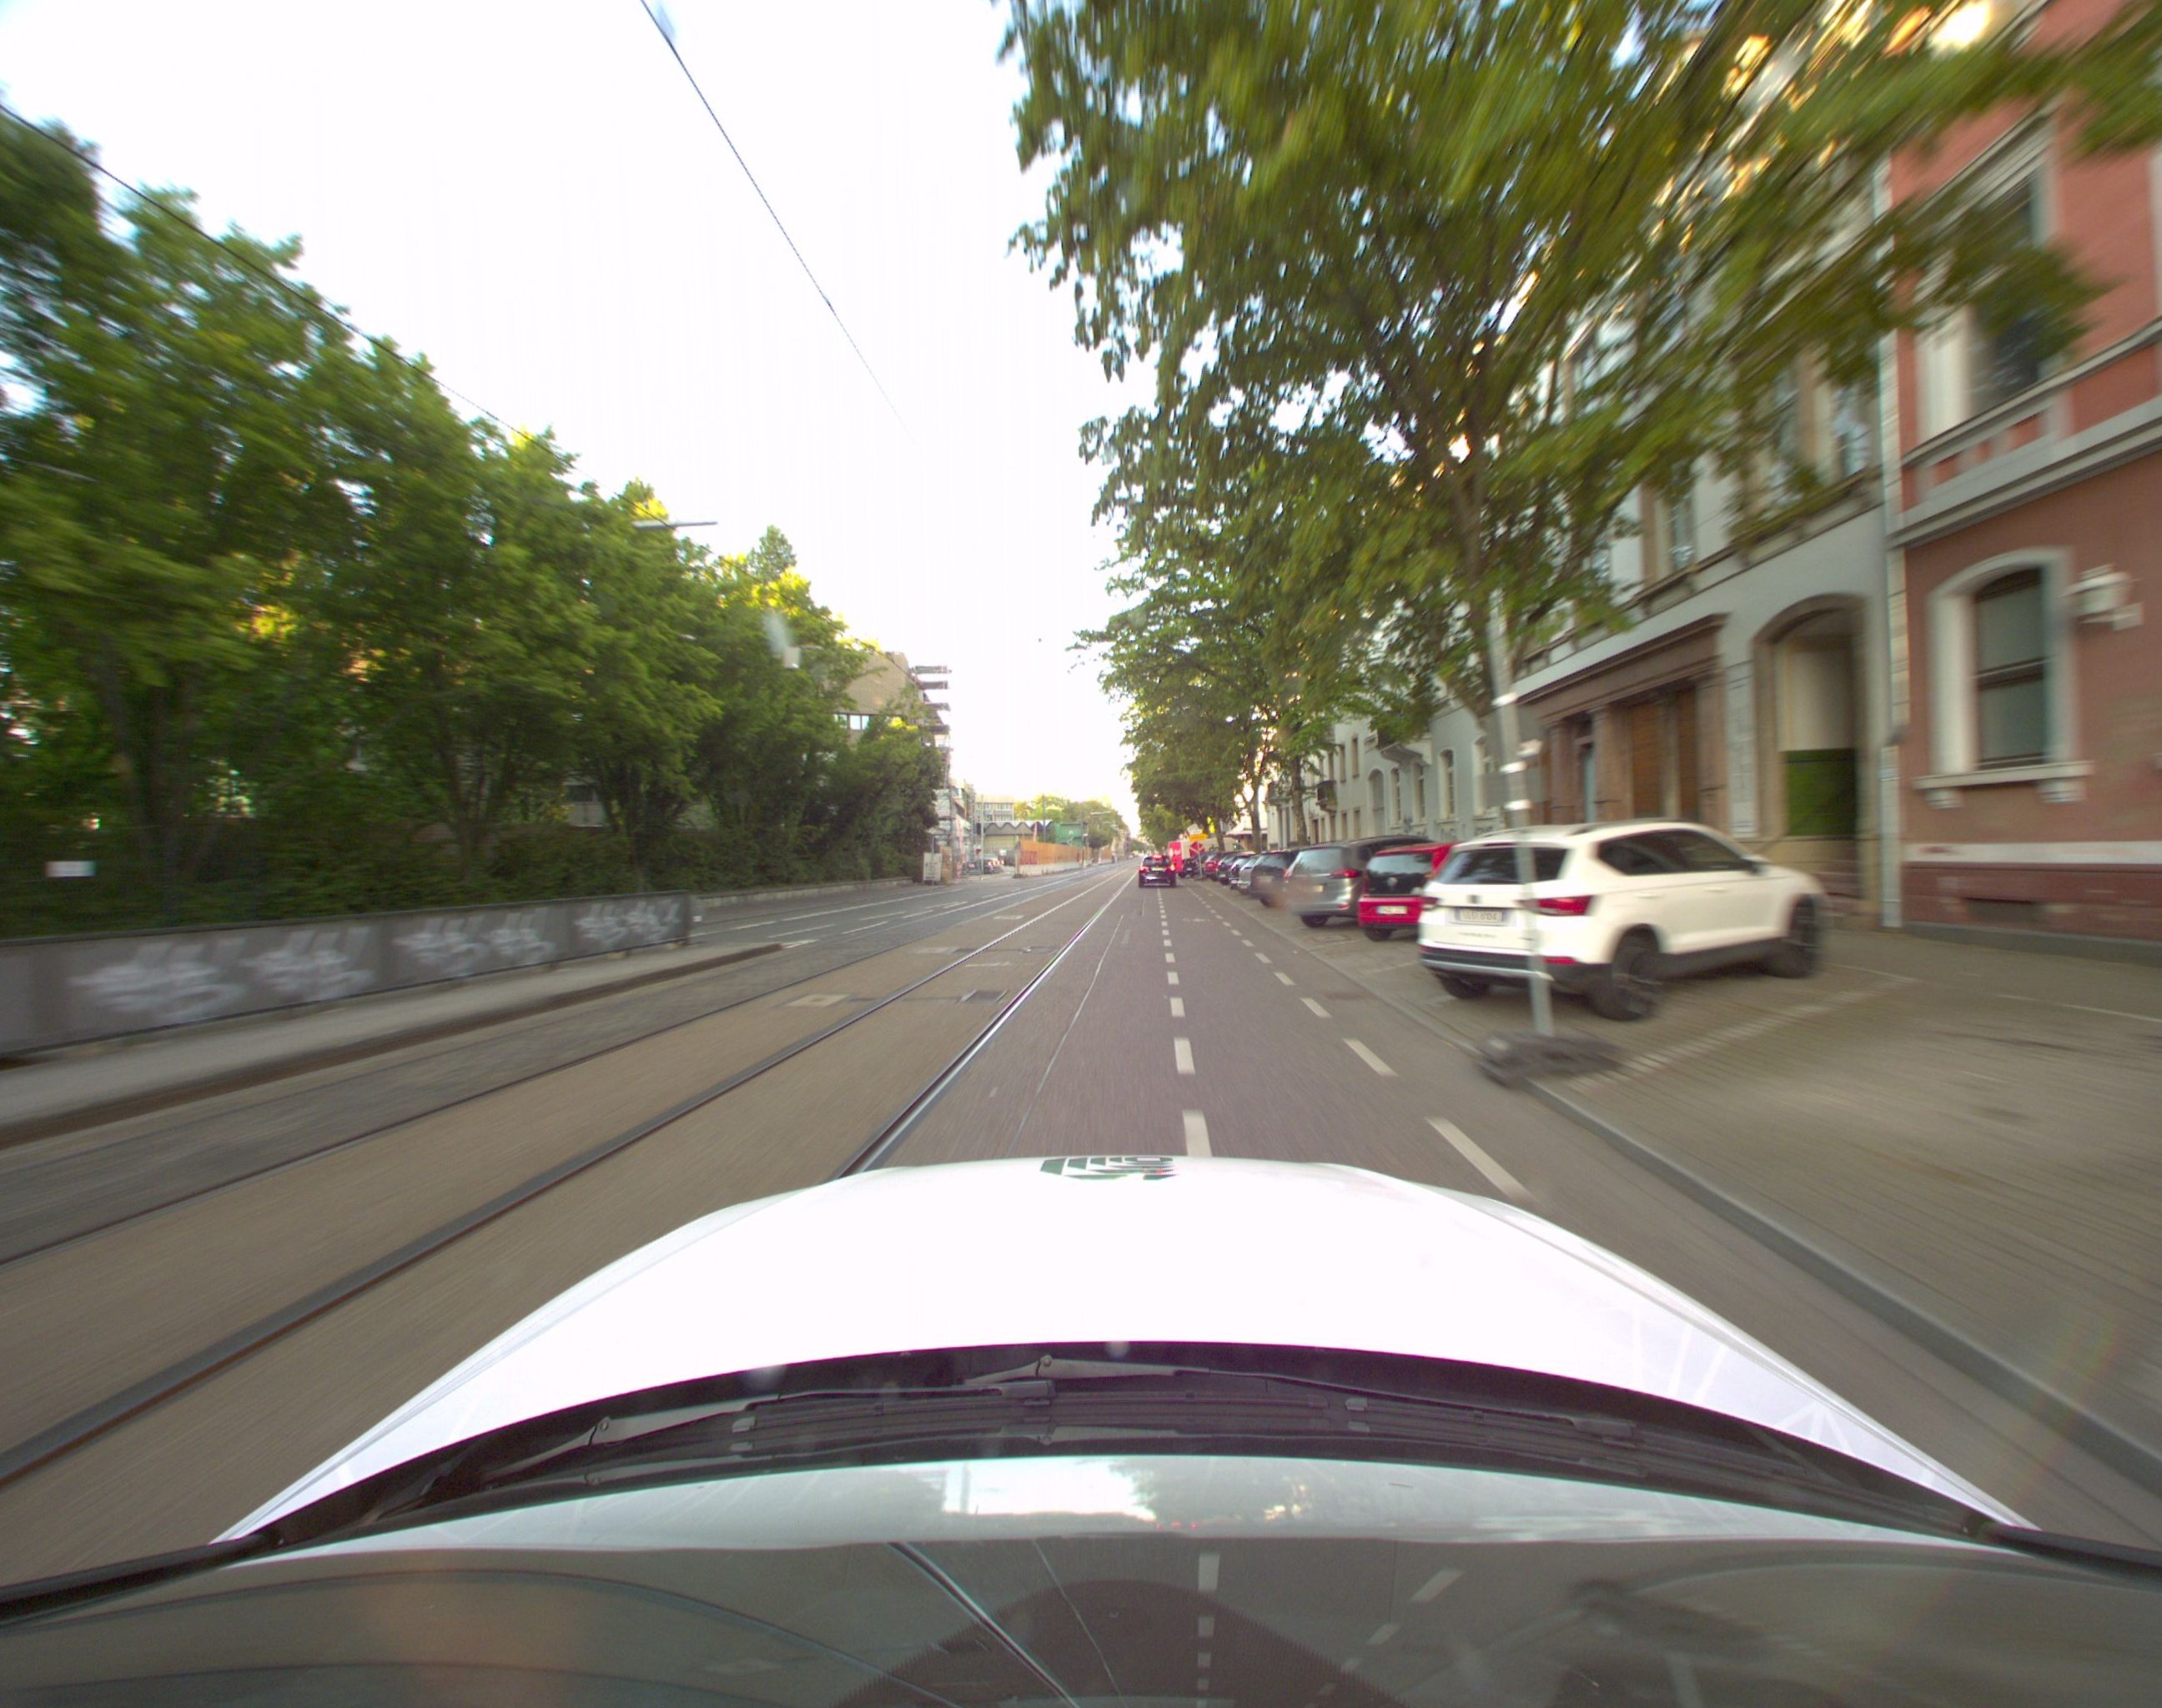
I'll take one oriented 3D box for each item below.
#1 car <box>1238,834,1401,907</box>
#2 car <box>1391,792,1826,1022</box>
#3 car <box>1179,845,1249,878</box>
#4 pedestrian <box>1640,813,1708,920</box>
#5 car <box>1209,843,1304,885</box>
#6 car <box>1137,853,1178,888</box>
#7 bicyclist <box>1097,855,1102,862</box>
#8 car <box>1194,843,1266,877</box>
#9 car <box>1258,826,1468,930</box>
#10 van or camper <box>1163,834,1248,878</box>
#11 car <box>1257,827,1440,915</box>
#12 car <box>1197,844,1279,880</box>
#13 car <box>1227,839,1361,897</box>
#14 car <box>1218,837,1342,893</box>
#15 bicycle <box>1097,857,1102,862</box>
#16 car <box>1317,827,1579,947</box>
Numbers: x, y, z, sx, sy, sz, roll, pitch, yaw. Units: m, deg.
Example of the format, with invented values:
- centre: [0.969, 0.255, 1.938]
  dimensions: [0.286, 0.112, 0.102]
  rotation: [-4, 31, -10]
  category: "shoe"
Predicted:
- centre: [6.423, 0.434, 21.901]
  dimensions: [3.964, 1.603, 1.824]
  rotation: [-4, -1, -27]
  category: "car"
- centre: [5.120, 0.355, 7.857]
  dimensions: [3.963, 1.627, 1.660]
  rotation: [-4, 1, -26]
  category: "car"
- centre: [8.598, 0.472, 52.619]
  dimensions: [3.958, 1.765, 1.827]
  rotation: [-5, -1, -22]
  category: "car"
- centre: [9.297, 0.191, 12.780]
  dimensions: [0.583, 1.609, 0.625]
  rotation: [-2, 0, 5]
  category: "pedestrian"
- centre: [8.195, 0.465, 37.993]
  dimensions: [3.965, 1.603, 1.824]
  rotation: [-5, -1, -27]
  category: "car"
- centre: [3.720, 0.767, 39.735]
  dimensions: [1.873, 1.620, 4.005]
  rotation: [1, 0, 4]
  category: "car"
- centre: [3.618, 0.843, 158.666]
  dimensions: [0.941, 1.346, 1.112]
  rotation: [-2, 0, 2]
  category: "bicyclist"
- centre: [9.255, 0.372, 50.736]
  dimensions: [3.958, 1.765, 1.827]
  rotation: [-5, -1, -22]
  category: "car"
- centre: [5.654, 0.438, 16.171]
  dimensions: [3.972, 1.668, 1.881]
  rotation: [-4, -1, -35]
  category: "car"
- centre: [8.607, 0.132, 56.286]
  dimensions: [5.567, 2.530, 2.066]
  rotation: [-5, -1, -30]
  category: "van or camper"
- centre: [6.375, 0.377, 19.337]
  dimensions: [3.965, 1.603, 1.731]
  rotation: [-6, 0, -27]
  category: "car"
- centre: [8.589, 0.460, 44.500]
  dimensions: [3.958, 1.603, 1.827]
  rotation: [-5, -1, -22]
  category: "car"
- centre: [6.930, 0.454, 26.469]
  dimensions: [3.966, 1.603, 1.823]
  rotation: [-3, -1, -29]
  category: "car"
- centre: [7.077, 0.379, 28.953]
  dimensions: [3.964, 1.603, 1.824]
  rotation: [-5, -1, -27]
  category: "car"
- centre: [3.653, 1.111, 159.446]
  dimensions: [0.944, 0.849, 2.698]
  rotation: [-2, 0, 2]
  category: "bicycle"
- centre: [5.934, 0.443, 13.080]
  dimensions: [3.968, 1.477, 1.813]
  rotation: [-4, 1, -30]
  category: "car"
